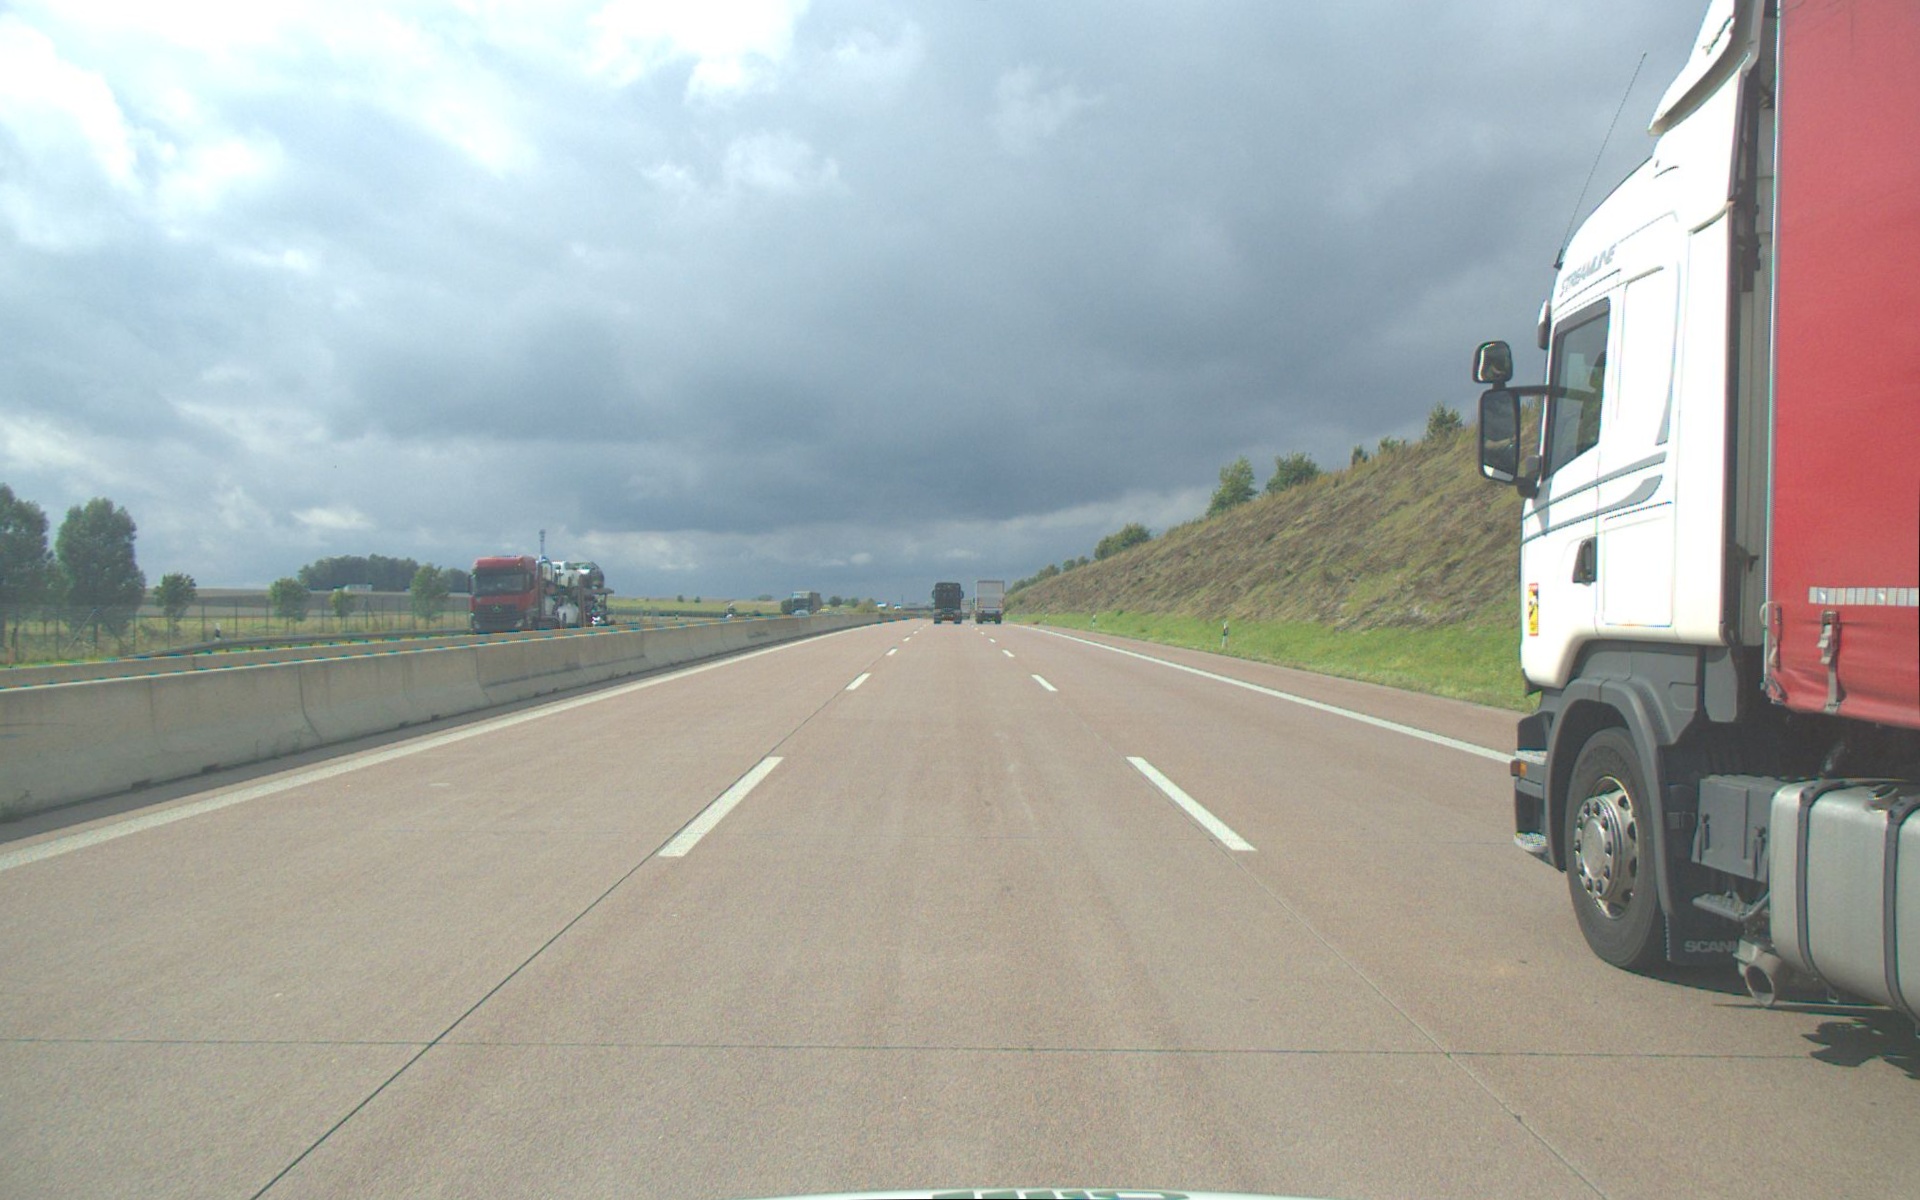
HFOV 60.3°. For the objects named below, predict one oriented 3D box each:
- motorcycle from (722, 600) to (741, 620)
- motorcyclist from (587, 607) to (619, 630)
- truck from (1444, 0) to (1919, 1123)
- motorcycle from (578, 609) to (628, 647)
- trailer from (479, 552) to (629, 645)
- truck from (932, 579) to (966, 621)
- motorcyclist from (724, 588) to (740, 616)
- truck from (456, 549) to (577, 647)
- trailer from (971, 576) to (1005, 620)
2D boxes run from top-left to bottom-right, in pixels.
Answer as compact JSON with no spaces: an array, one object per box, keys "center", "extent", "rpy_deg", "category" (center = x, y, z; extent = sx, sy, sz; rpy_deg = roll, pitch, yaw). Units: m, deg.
[{"center":[-15.929,0.687,115.384],"extent":[0.907,1.326,2.342],"rpy_deg":[1,0,0],"category":"motorcycle"},{"center":[-15.328,0.787,70.992],"extent":[1.161,0.965,0.839],"rpy_deg":[1,0,0],"category":"motorcyclist"},{"center":[4.030,-0.597,5.888],"extent":[2.619,4.178,6.615],"rpy_deg":[0,0,-1],"category":"truck"},{"center":[-15.282,1.187,70.888],"extent":[1.522,1.569,2.841],"rpy_deg":[1,0,0],"category":"motorcycle"},{"center":[-19.486,-0.056,80.900],"extent":[3.128,4.048,16.325],"rpy_deg":[1,0,0],"category":"trailer"},{"center":[-1.046,0.073,148.444],"extent":[2.790,3.612,8.315],"rpy_deg":[1,-1,-2],"category":"truck"},{"center":[-15.905,0.134,115.376],"extent":[0.988,1.894,0.744],"rpy_deg":[1,-1,1],"category":"motorcyclist"},{"center":[-19.568,-0.084,73.496],"extent":[3.128,4.048,7.729],"rpy_deg":[1,0,0],"category":"truck"},{"center":[2.635,-0.150,158.150],"extent":[2.692,4.082,8.666],"rpy_deg":[1,-1,-2],"category":"trailer"}]
